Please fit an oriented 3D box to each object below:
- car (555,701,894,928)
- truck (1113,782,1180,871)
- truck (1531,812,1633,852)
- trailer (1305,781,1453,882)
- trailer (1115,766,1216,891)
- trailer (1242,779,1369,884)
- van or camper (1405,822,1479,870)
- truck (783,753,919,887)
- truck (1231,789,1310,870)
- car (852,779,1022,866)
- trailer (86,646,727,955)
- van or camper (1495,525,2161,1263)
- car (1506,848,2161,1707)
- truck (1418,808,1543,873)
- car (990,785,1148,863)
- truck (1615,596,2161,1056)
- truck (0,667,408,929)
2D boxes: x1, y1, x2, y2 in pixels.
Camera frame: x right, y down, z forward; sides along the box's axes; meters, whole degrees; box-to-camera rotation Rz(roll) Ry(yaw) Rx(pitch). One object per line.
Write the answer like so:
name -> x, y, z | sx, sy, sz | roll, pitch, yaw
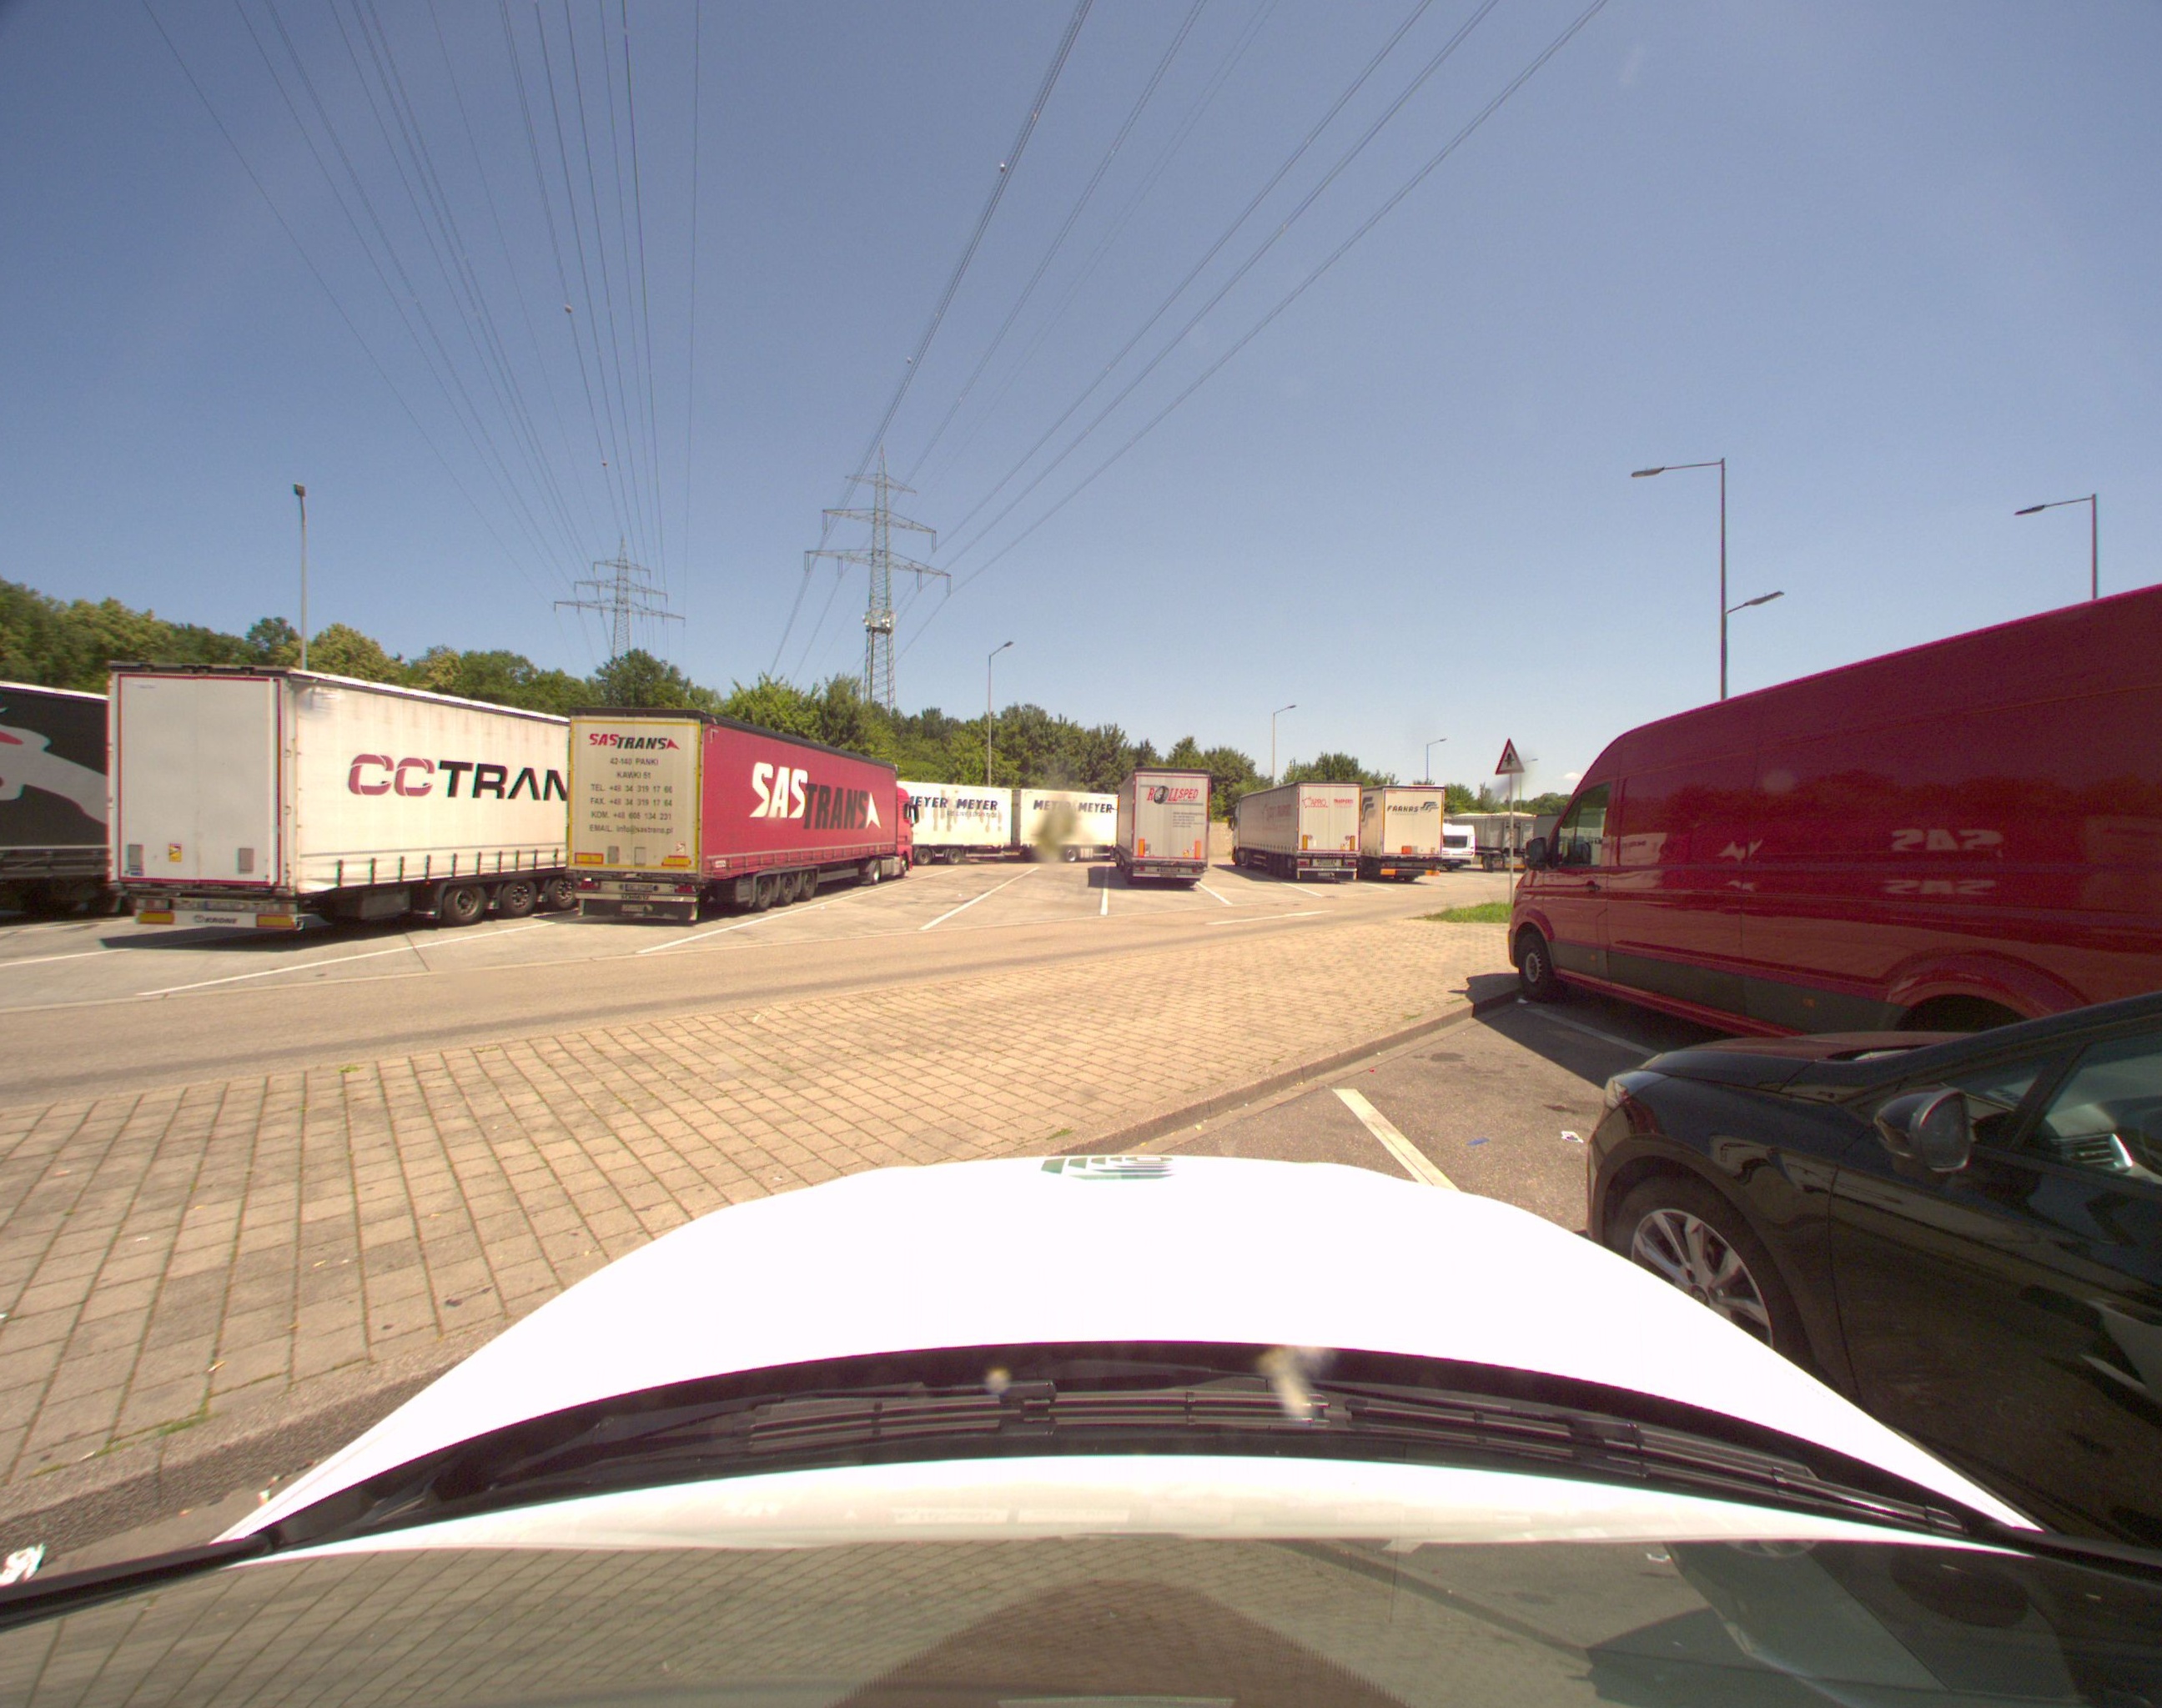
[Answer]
car -> -8.048, -0.938, 21.417 | 2.686, 4.112, 12.943 | 1, 2, 2
truck -> 3.142, -1.395, 40.800 | 2.857, 4.037, 7.029 | 0, 2, 1
truck -> 38.040, -1.640, 62.356 | 2.117, 2.820, 9.783 | -1, 1, 2
trailer -> 13.645, -1.123, 38.859 | 2.855, 4.037, 12.445 | 1, 2, 2
trailer -> 3.048, -1.105, 33.712 | 2.857, 4.037, 14.244 | 0, 2, 1
trailer -> 9.957, -1.104, 37.884 | 2.855, 4.037, 12.445 | 1, 2, 2
van or camper -> 20.595, -0.465, 46.721 | 2.096, 2.561, 5.376 | -1, 1, 3
truck -> -7.747, -1.156, 28.334 | 2.686, 4.112, 6.243 | 1, 2, 2
truck -> 10.184, -1.368, 44.516 | 2.856, 4.037, 6.960 | 1, 2, 2
car -> -7.222, -1.581, 41.993 | 8.516, 4.043, 2.656 | -1, 3, -44
trailer -> -12.162, -0.979, 17.774 | 2.803, 4.266, 12.947 | 0, 2, 2
van or camper -> 5.137, 0.099, 5.475 | 1.986, 2.654, 6.490 | -1, 1, 6
car -> 2.453, 0.754, 1.124 | 1.612, 1.483, 3.762 | -1, 1, -4
truck -> 24.305, -0.955, 50.480 | 2.478, 3.568, 11.429 | 1, 2, 2
car -> -0.460, -1.733, 48.506 | 10.274, 4.188, 2.656 | -1, 3, -43
truck -> 7.938, -0.211, 7.047 | 2.455, 2.792, 6.978 | 0, 1, 4
truck -> -18.617, -1.027, 16.255 | 2.803, 4.190, 8.793 | 0, 2, 2
